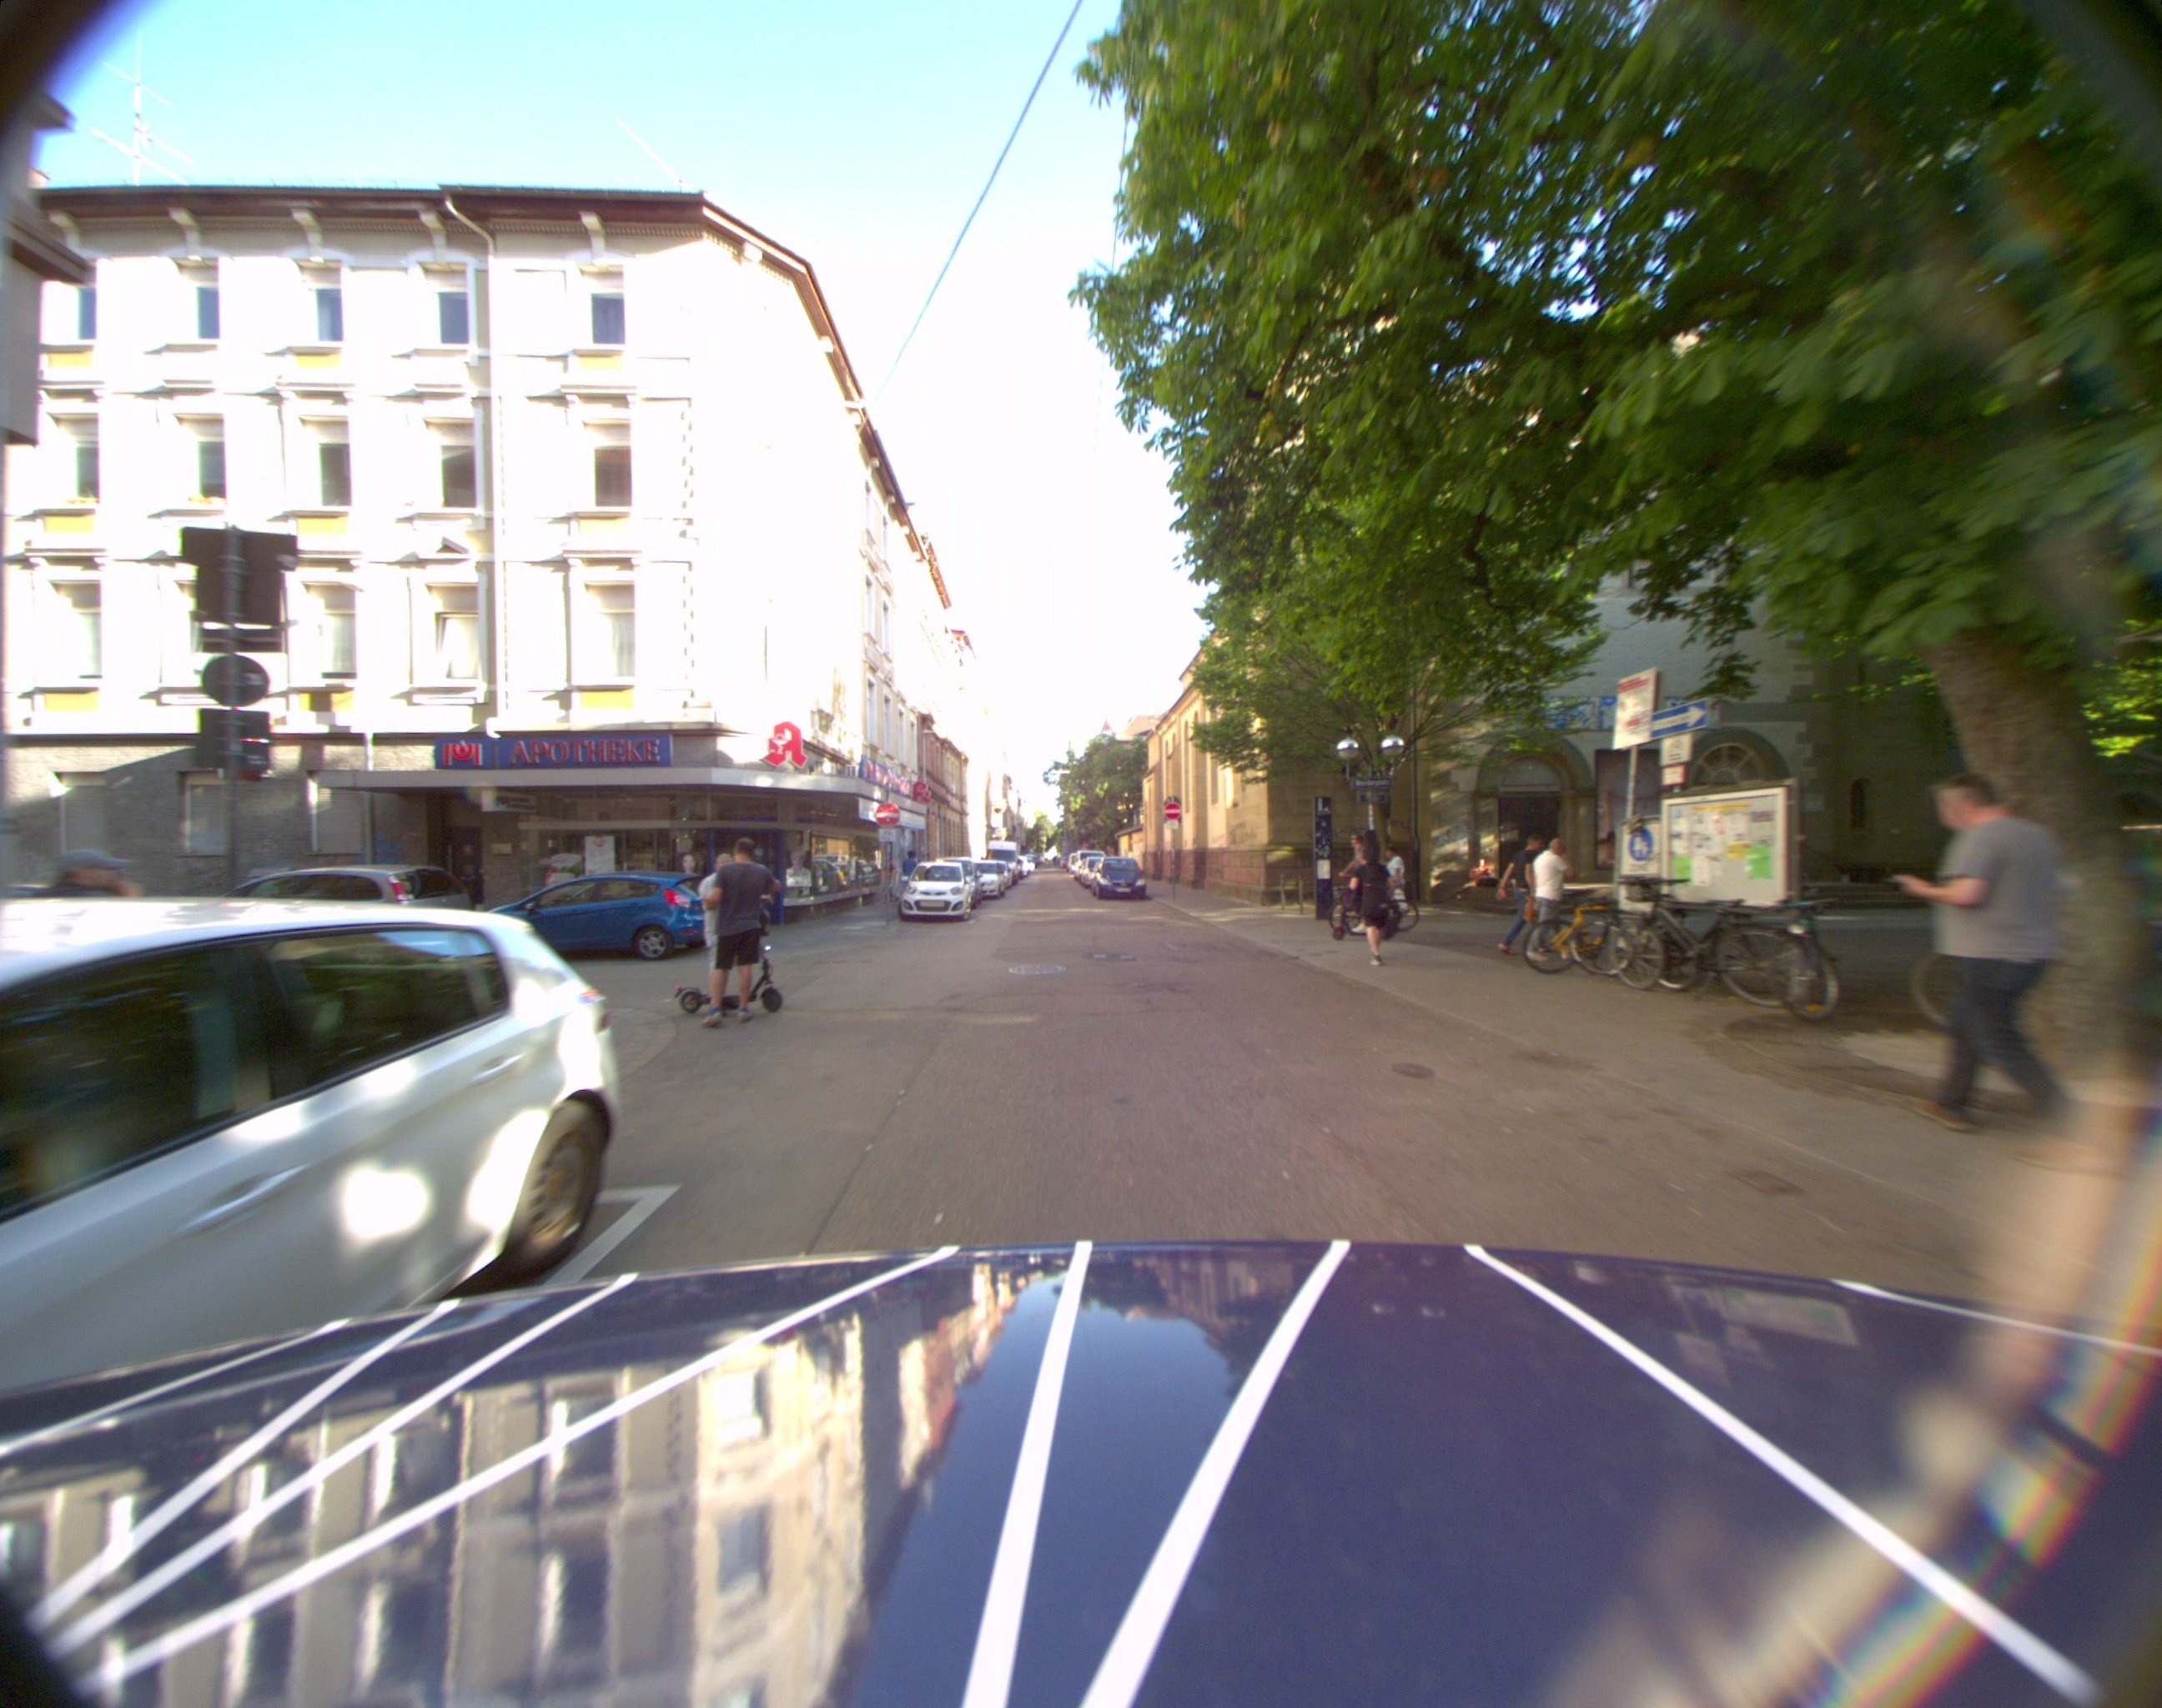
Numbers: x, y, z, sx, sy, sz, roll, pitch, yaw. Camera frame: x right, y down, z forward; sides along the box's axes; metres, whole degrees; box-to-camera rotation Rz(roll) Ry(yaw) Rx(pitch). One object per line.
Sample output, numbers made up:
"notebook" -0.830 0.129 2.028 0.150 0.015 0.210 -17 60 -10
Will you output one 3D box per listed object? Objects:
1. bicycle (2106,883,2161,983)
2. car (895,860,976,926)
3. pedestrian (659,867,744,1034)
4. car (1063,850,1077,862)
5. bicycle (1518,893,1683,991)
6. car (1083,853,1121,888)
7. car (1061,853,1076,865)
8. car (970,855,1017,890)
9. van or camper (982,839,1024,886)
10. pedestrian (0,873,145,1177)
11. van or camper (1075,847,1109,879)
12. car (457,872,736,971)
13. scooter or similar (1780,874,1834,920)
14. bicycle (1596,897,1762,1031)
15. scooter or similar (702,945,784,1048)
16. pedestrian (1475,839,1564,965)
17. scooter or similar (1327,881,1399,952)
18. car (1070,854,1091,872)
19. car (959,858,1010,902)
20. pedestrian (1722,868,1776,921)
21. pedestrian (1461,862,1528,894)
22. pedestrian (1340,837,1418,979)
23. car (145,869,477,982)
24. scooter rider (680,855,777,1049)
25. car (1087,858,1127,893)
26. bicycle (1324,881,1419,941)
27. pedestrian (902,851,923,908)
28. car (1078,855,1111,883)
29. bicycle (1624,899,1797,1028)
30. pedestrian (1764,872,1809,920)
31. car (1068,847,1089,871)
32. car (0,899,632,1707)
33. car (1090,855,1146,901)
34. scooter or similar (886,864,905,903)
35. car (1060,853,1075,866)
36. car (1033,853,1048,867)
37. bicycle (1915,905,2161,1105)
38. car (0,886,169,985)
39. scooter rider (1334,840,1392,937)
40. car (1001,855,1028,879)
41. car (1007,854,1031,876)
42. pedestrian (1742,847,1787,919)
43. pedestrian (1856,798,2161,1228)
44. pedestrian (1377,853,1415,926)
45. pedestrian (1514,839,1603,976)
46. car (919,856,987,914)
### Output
"bicycle" 11.997 0.862 7.789 0.229 1.084 1.937 -2 -1 -3
"car" -3.752 0.957 20.090 1.694 1.454 3.638 -2 1 -5
"pedestrian" -3.942 0.965 7.897 0.527 1.629 0.566 -1 2 42
"car" -1.570 0.292 106.145 1.777 1.614 4.021 -1 0 -3
"bicycle" 6.003 1.015 8.820 1.576 1.076 0.347 -2 1 8
"car" 1.023 0.805 38.727 1.724 1.558 3.999 -2 1 -1
"car" -1.618 0.638 100.291 1.777 1.614 4.021 -1 0 -3
"car" -4.558 0.935 40.185 1.999 1.637 4.562 -2 1 -2
"van or camper" -4.634 0.449 46.044 1.999 2.617 5.977 -2 1 -2
"pedestrian" -5.977 0.936 4.472 0.599 1.640 0.466 -1 -2 29
"van or camper" 0.679 0.577 49.704 1.984 1.939 4.562 -1 0 -2
"car" -8.156 1.100 13.072 3.583 1.477 1.788 -1 1 -2
"scooter or similar" 16.557 0.985 17.344 0.732 1.000 0.505 -2 1 9
"bicycle" 5.733 1.001 7.393 0.293 1.076 1.578 -2 0 -2
"scooter or similar" -3.329 1.384 7.541 0.394 0.824 0.925 -2 1 -2
"pedestrian" 6.637 0.688 11.540 0.695 1.815 1.002 -2 1 -4
"scooter or similar" 4.962 1.090 13.401 1.057 1.153 0.514 -2 1 -3
"car" -0.088 0.744 66.212 1.696 1.529 3.812 -1 0 -2
"car" -3.764 0.973 30.064 1.558 1.518 4.199 -2 1 -2
"pedestrian" 16.054 0.963 18.277 0.615 1.224 0.741 -2 1 -3
"pedestrian" 10.783 0.614 19.870 0.959 0.756 1.406 -2 1 -2
"pedestrian" 4.058 0.709 10.394 0.718 1.862 0.720 -2 1 -3
"car" -12.687 1.131 12.717 3.745 1.621 1.629 -1 2 -2
"scooter rider" -3.411 0.906 7.356 0.610 1.768 0.566 -1 2 37
"car" 1.145 0.915 34.505 1.577 1.356 4.145 -2 1 -1
"bicycle" 5.552 1.077 14.535 1.694 1.059 0.346 -2 1 -4
"pedestrian" -5.693 0.841 25.672 0.563 1.883 0.530 -2 1 -3
"car" 0.764 0.843 44.372 1.696 1.472 3.735 -1 0 -2
"bicycle" 6.055 1.005 7.416 0.293 1.040 1.578 -2 0 -2
"pedestrian" 16.832 0.997 18.141 0.616 1.101 0.490 -2 1 -3
"car" -0.274 0.465 71.692 1.777 2.128 4.021 -1 0 -2
"car" -2.814 1.011 1.326 1.792 1.507 4.134 -2 1 -4
"car" 1.339 0.855 28.922 1.799 1.543 3.833 -2 1 -2
"scooter or similar" -6.449 1.010 26.445 0.396 1.272 1.036 -2 1 -2
"car" -1.713 0.651 95.629 1.777 1.614 4.021 -1 0 -3
"car" -4.800 0.738 90.742 1.696 1.615 3.962 -1 0 -2
"bicycle" 6.733 0.946 4.738 0.499 1.124 2.035 -2 0 -16
"car" -17.965 1.313 12.450 3.988 1.447 1.559 -1 1 -2
"scooter rider" 4.985 0.590 13.467 0.689 1.638 0.720 -2 1 -4
"car" -4.789 0.927 55.015 1.696 1.615 3.812 -1 0 -2
"car" -4.888 0.838 60.424 1.696 1.615 3.962 -1 0 -2
"pedestrian" 15.732 0.659 17.499 0.561 1.622 0.549 -2 1 -15
"pedestrian" 4.384 0.680 3.613 0.648 1.823 0.697 -3 1 -3
"pedestrian" 7.111 0.786 17.173 0.480 1.584 0.714 -2 1 -5
"pedestrian" 6.639 0.714 10.585 0.763 1.825 0.688 -2 1 -4
"car" -4.100 0.941 24.924 1.705 1.641 4.062 -2 1 -3
